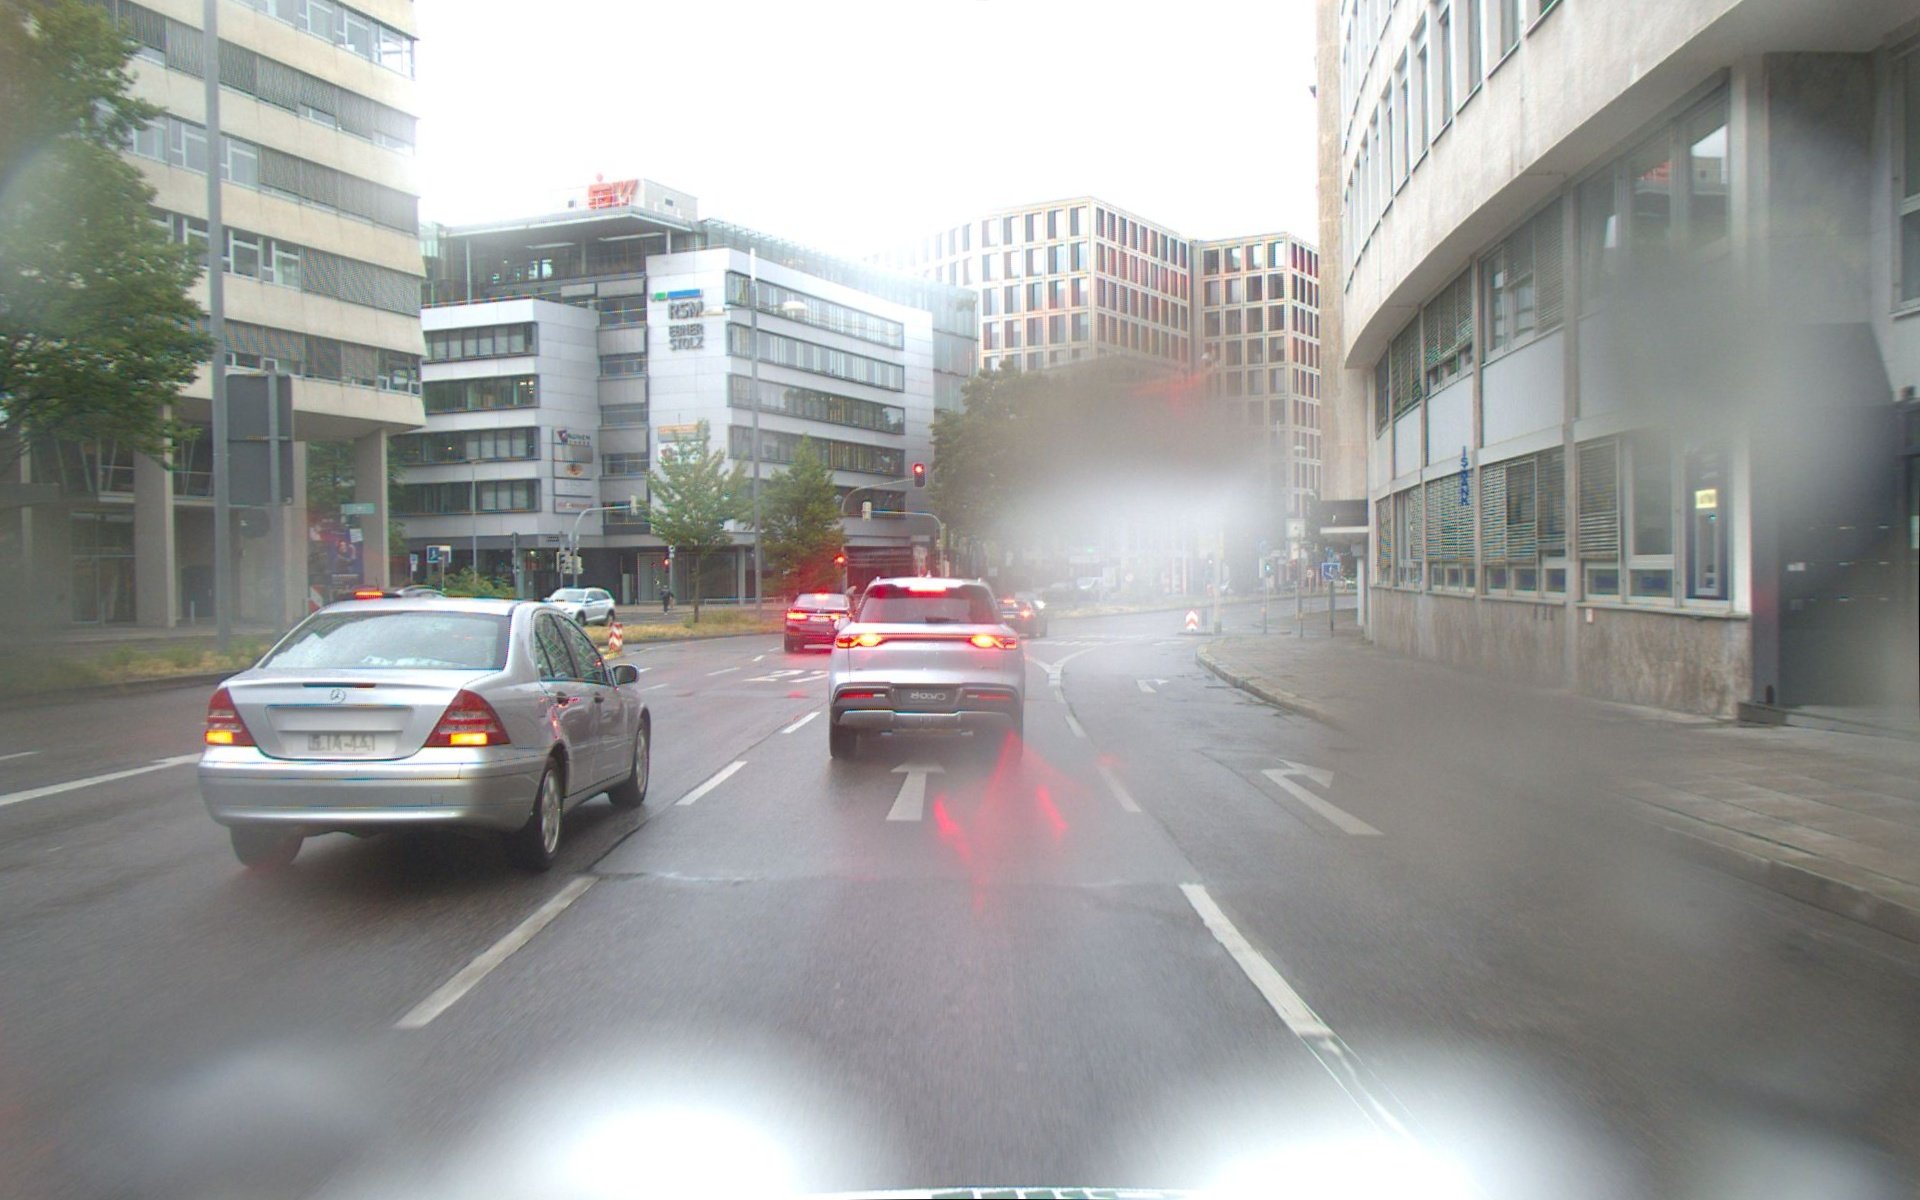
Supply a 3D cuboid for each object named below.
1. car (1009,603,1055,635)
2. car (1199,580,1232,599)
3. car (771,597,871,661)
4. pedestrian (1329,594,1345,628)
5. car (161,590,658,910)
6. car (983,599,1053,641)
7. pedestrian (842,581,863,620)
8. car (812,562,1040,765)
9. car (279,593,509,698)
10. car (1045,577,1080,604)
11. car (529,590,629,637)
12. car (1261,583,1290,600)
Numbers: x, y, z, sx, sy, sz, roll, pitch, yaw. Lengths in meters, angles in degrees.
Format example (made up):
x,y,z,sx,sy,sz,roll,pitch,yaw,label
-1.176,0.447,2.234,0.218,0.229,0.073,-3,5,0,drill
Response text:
x,y,z,sx,sy,sz,roll,pitch,yaw,label
4.152,1.084,95.618,1.956,1.780,4.524,0,0,-7,car
25.671,-1.058,166.260,1.956,1.735,4.302,1,2,29,car
-3.560,0.718,42.964,1.914,1.557,4.002,0,0,5,car
19.216,0.556,84.253,0.712,1.698,0.691,0,-1,18,pedestrian
-2.991,0.702,9.940,1.648,1.512,4.195,0,0,-1,car
2.236,0.733,63.110,1.913,1.557,4.003,0,0,13,car
-4.907,0.033,75.466,0.903,1.768,0.729,0,0,-3,pedestrian
-0.328,0.539,16.443,1.953,1.739,4.481,0,0,-1,car
-9.094,0.678,27.020,1.951,1.571,4.485,0,0,4,car
8.537,-0.784,137.787,1.701,2.199,4.494,1,0,20,car
-14.777,0.517,64.359,1.701,1.758,4.496,1,0,18,car
35.281,-0.954,184.673,1.956,1.735,4.302,1,2,29,car
